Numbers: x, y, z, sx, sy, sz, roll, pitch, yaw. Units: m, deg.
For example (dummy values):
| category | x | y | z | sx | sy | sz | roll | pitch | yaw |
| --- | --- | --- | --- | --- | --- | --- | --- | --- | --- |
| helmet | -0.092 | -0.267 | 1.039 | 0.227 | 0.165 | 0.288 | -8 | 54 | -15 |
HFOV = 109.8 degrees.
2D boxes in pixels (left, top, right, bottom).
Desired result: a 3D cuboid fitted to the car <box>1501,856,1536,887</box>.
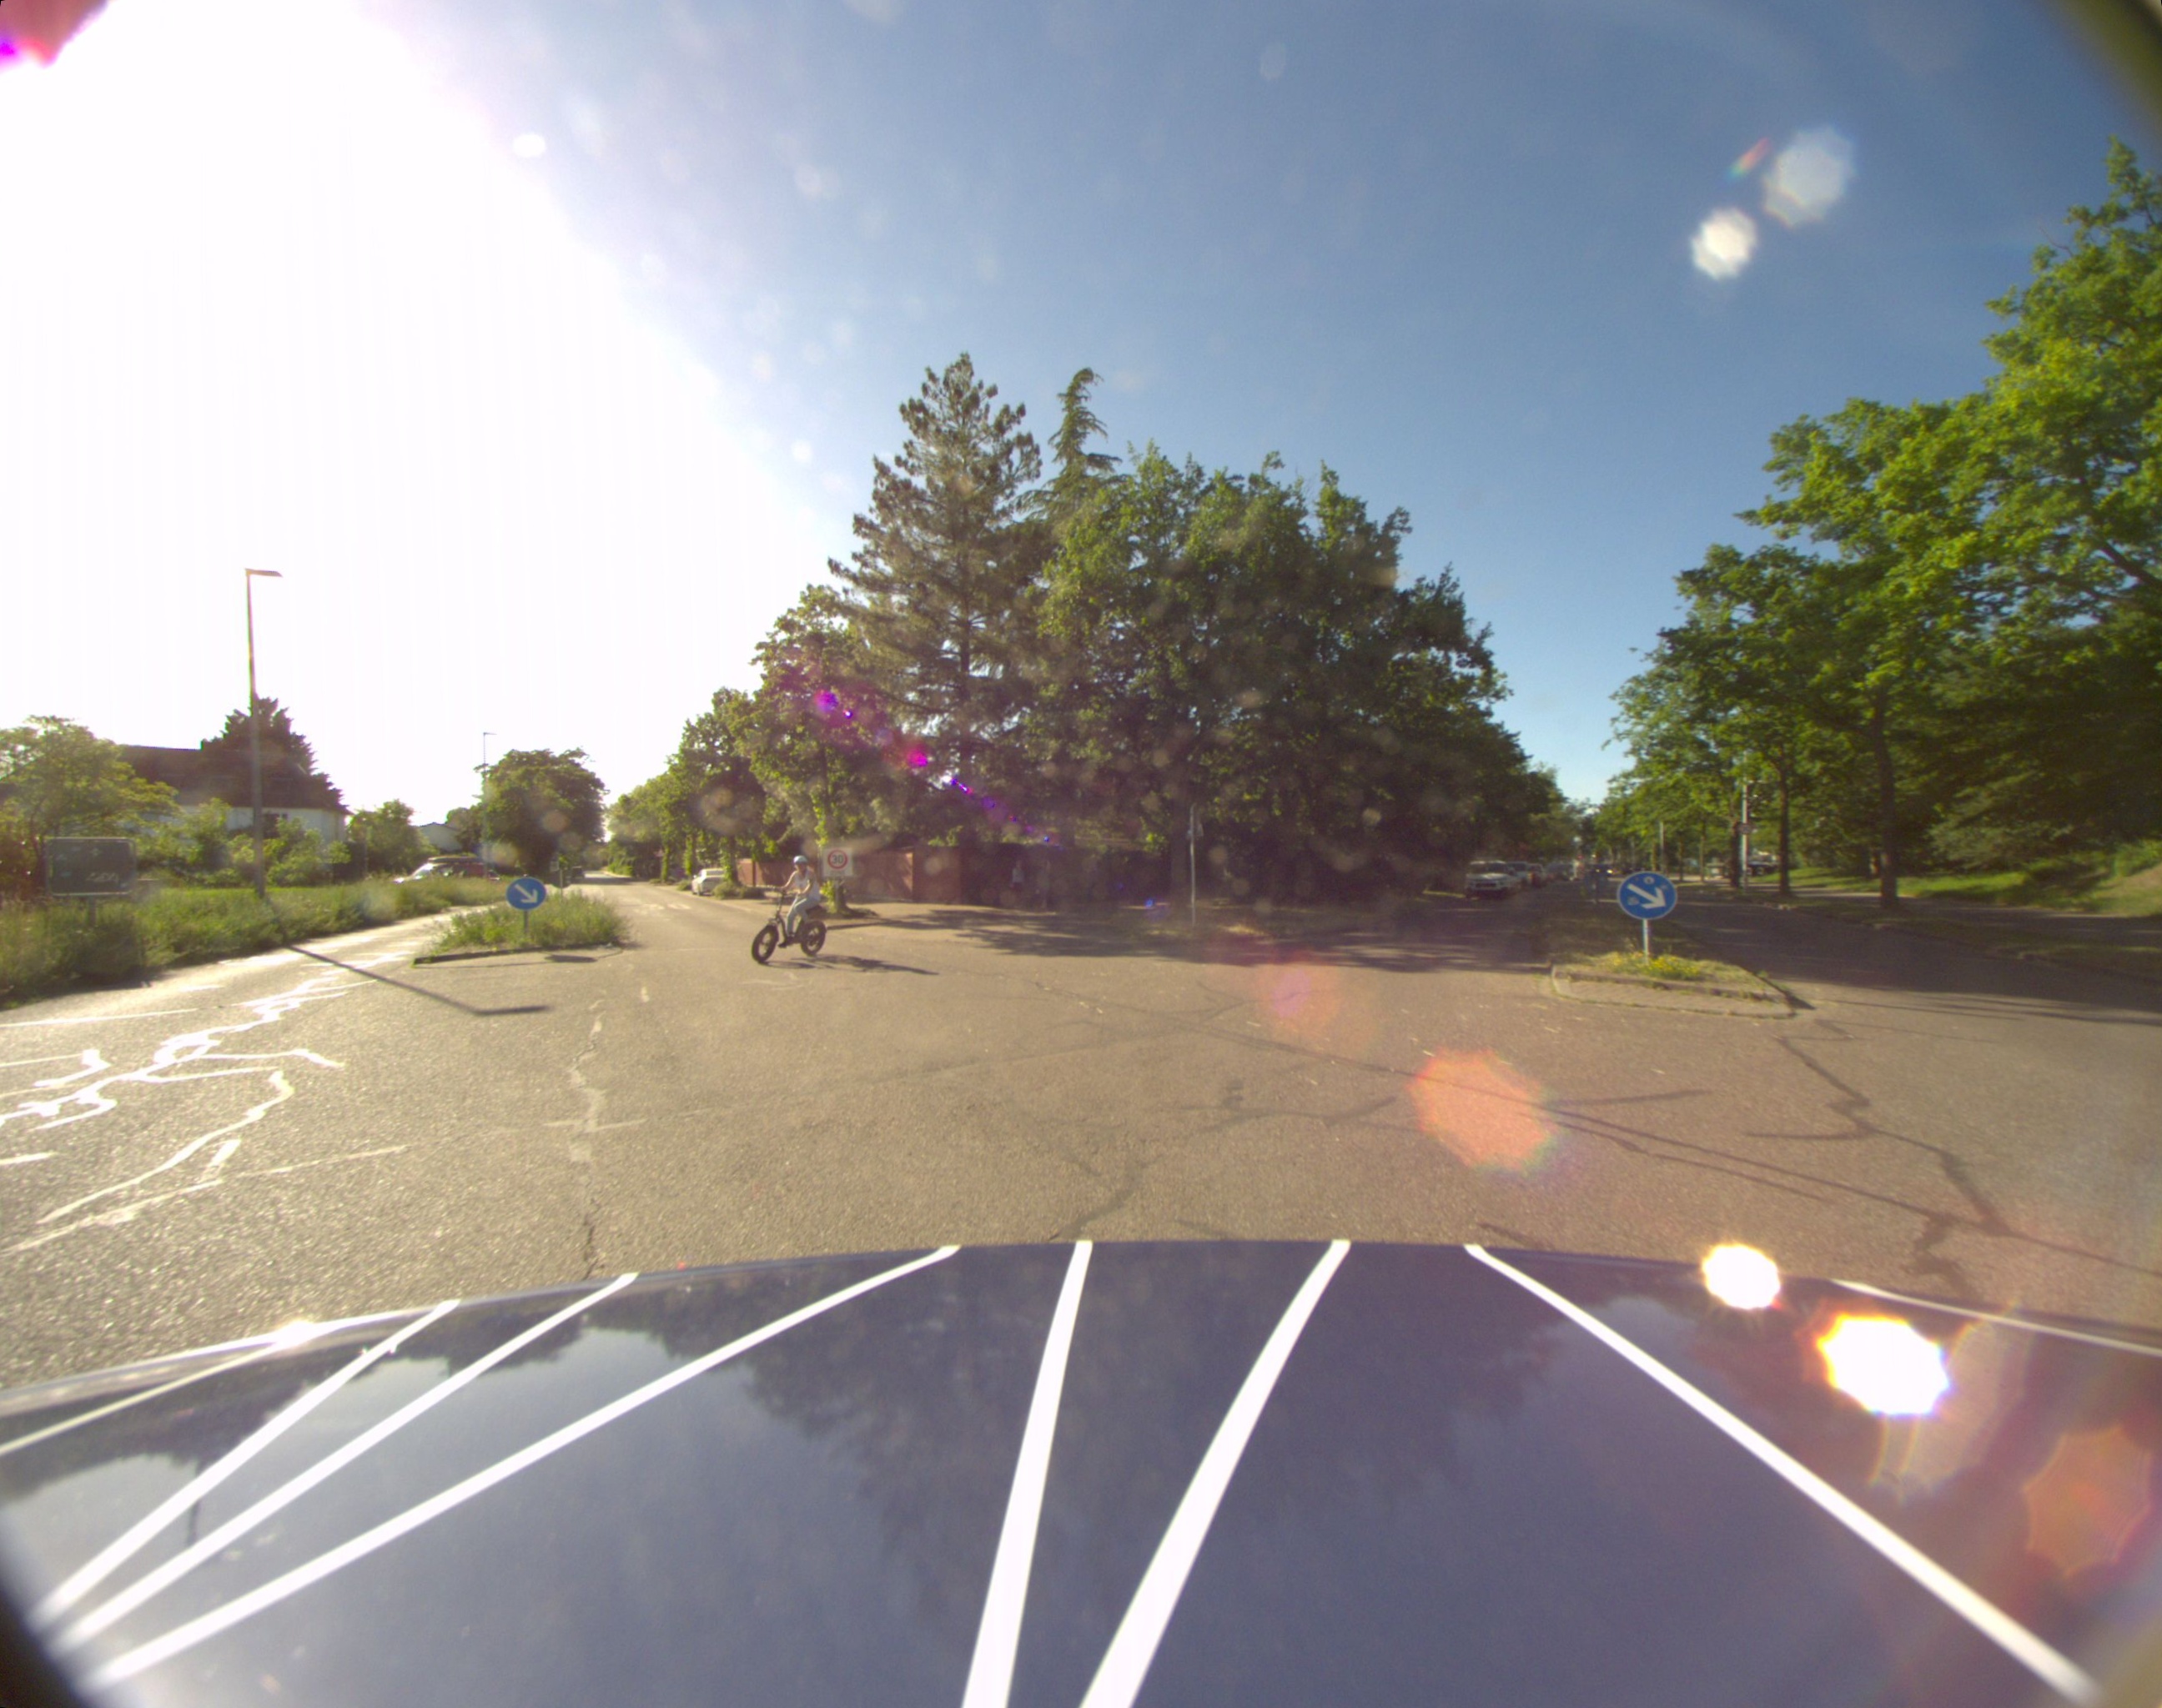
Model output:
| category | x | y | z | sx | sy | sz | roll | pitch | yaw |
| --- | --- | --- | --- | --- | --- | --- | --- | --- | --- |
| car | 25.796 | 1.017 | 44.770 | 1.497 | 1.744 | 3.810 | -1 | -1 | 34 |

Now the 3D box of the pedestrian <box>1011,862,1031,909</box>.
| category | x | y | z | sx | sy | sz | roll | pitch | yaw |
| --- | --- | --- | --- | --- | --- | --- | --- | --- | --- |
| pedestrian | -1.944 | 1.007 | 24.705 | 0.395 | 1.511 | 0.539 | 0 | 1 | 33 |

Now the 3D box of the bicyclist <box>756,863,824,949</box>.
| category | x | y | z | sx | sy | sz | roll | pitch | yaw |
| --- | --- | --- | --- | --- | --- | --- | --- | --- | --- |
| bicyclist | -4.782 | 0.832 | 12.530 | 0.637 | 1.339 | 0.840 | 0 | 1 | 23 |

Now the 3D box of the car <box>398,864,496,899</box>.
| category | x | y | z | sx | sy | sz | roll | pitch | yaw |
| --- | --- | --- | --- | --- | --- | --- | --- | --- | --- |
| car | -34.139 | 1.437 | 41.008 | 1.744 | 1.707 | 3.656 | 0 | 0 | 22 |

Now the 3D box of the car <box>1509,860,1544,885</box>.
| category | x | y | z | sx | sy | sz | roll | pitch | yaw |
| --- | --- | --- | --- | --- | --- | --- | --- | --- | --- |
| car | 29.980 | 1.222 | 51.120 | 1.769 | 1.628 | 3.761 | -1 | -1 | 34 |

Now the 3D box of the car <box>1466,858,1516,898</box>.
| category | x | y | z | sx | sy | sz | roll | pitch | yaw |
| --- | --- | --- | --- | --- | --- | --- | --- | --- | --- |
| car | 19.134 | 1.078 | 35.382 | 1.750 | 1.738 | 4.643 | -1 | -1 | 32 |

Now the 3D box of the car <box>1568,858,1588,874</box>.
| category | x | y | z | sx | sy | sz | roll | pitch | yaw |
| --- | --- | --- | --- | --- | --- | --- | --- | --- | --- |
| car | 49.974 | 1.189 | 76.361 | 1.447 | 1.643 | 3.728 | -1 | -1 | 36 |

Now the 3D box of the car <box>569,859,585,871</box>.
| category | x | y | z | sx | sy | sz | roll | pitch | yaw |
| --- | --- | --- | --- | --- | --- | --- | --- | --- | --- |
| car | -79.904 | 1.757 | 120.441 | 2.003 | 1.805 | 3.990 | 0 | 0 | -32 |

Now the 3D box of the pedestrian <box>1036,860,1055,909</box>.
| category | x | y | z | sx | sy | sz | roll | pitch | yaw |
| --- | --- | --- | --- | --- | --- | --- | --- | --- | --- |
| pedestrian | -1.170 | 0.988 | 24.845 | 0.397 | 1.552 | 0.537 | 0 | 1 | -30 |

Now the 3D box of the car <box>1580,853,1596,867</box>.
| category | x | y | z | sx | sy | sz | roll | pitch | yaw |
| --- | --- | --- | --- | --- | --- | --- | --- | --- | --- |
| car | 64.155 | 0.757 | 96.115 | 1.419 | 1.643 | 3.918 | -1 | -1 | 36 |

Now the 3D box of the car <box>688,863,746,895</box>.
| category | x | y | z | sx | sy | sz | roll | pitch | yaw |
| --- | --- | --- | --- | --- | --- | --- | --- | --- | --- |
| car | -19.879 | 1.315 | 41.414 | 2.004 | 1.649 | 3.989 | 0 | 0 | -38 |

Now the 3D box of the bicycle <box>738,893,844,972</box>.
| category | x | y | z | sx | sy | sz | roll | pitch | yaw |
| --- | --- | --- | --- | --- | --- | --- | --- | --- | --- |
| bicycle | -4.762 | 1.259 | 12.618 | 0.457 | 1.138 | 1.901 | 0 | 0 | 23 |

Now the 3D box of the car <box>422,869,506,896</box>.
| category | x | y | z | sx | sy | sz | roll | pitch | yaw |
| --- | --- | --- | --- | --- | --- | --- | --- | --- | --- |
| car | -35.510 | 1.600 | 43.785 | 1.611 | 1.433 | 3.402 | 0 | 0 | 35 |

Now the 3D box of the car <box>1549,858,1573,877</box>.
| category | x | y | z | sx | sy | sz | roll | pitch | yaw |
| --- | --- | --- | --- | --- | --- | --- | --- | --- | --- |
| car | 43.650 | 1.236 | 69.081 | 1.497 | 1.643 | 4.100 | -1 | -1 | 36 |

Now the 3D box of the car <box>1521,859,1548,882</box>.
| category | x | y | z | sx | sy | sz | roll | pitch | yaw |
| --- | --- | --- | --- | --- | --- | --- | --- | --- | --- |
| car | 33.590 | 1.183 | 56.255 | 1.497 | 1.628 | 3.761 | -1 | -1 | 34 |

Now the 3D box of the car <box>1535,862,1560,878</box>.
| category | x | y | z | sx | sy | sz | roll | pitch | yaw |
| --- | --- | --- | --- | --- | --- | --- | --- | --- | --- |
| car | 39.561 | 1.362 | 64.345 | 1.497 | 1.351 | 3.474 | -1 | -1 | 36 |

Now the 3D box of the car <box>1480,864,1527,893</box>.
| category | x | y | z | sx | sy | sz | roll | pitch | yaw |
| --- | --- | --- | --- | --- | --- | --- | --- | --- | --- |
| car | 22.488 | 1.273 | 40.323 | 1.719 | 1.435 | 4.624 | -2 | -2 | 34 |
